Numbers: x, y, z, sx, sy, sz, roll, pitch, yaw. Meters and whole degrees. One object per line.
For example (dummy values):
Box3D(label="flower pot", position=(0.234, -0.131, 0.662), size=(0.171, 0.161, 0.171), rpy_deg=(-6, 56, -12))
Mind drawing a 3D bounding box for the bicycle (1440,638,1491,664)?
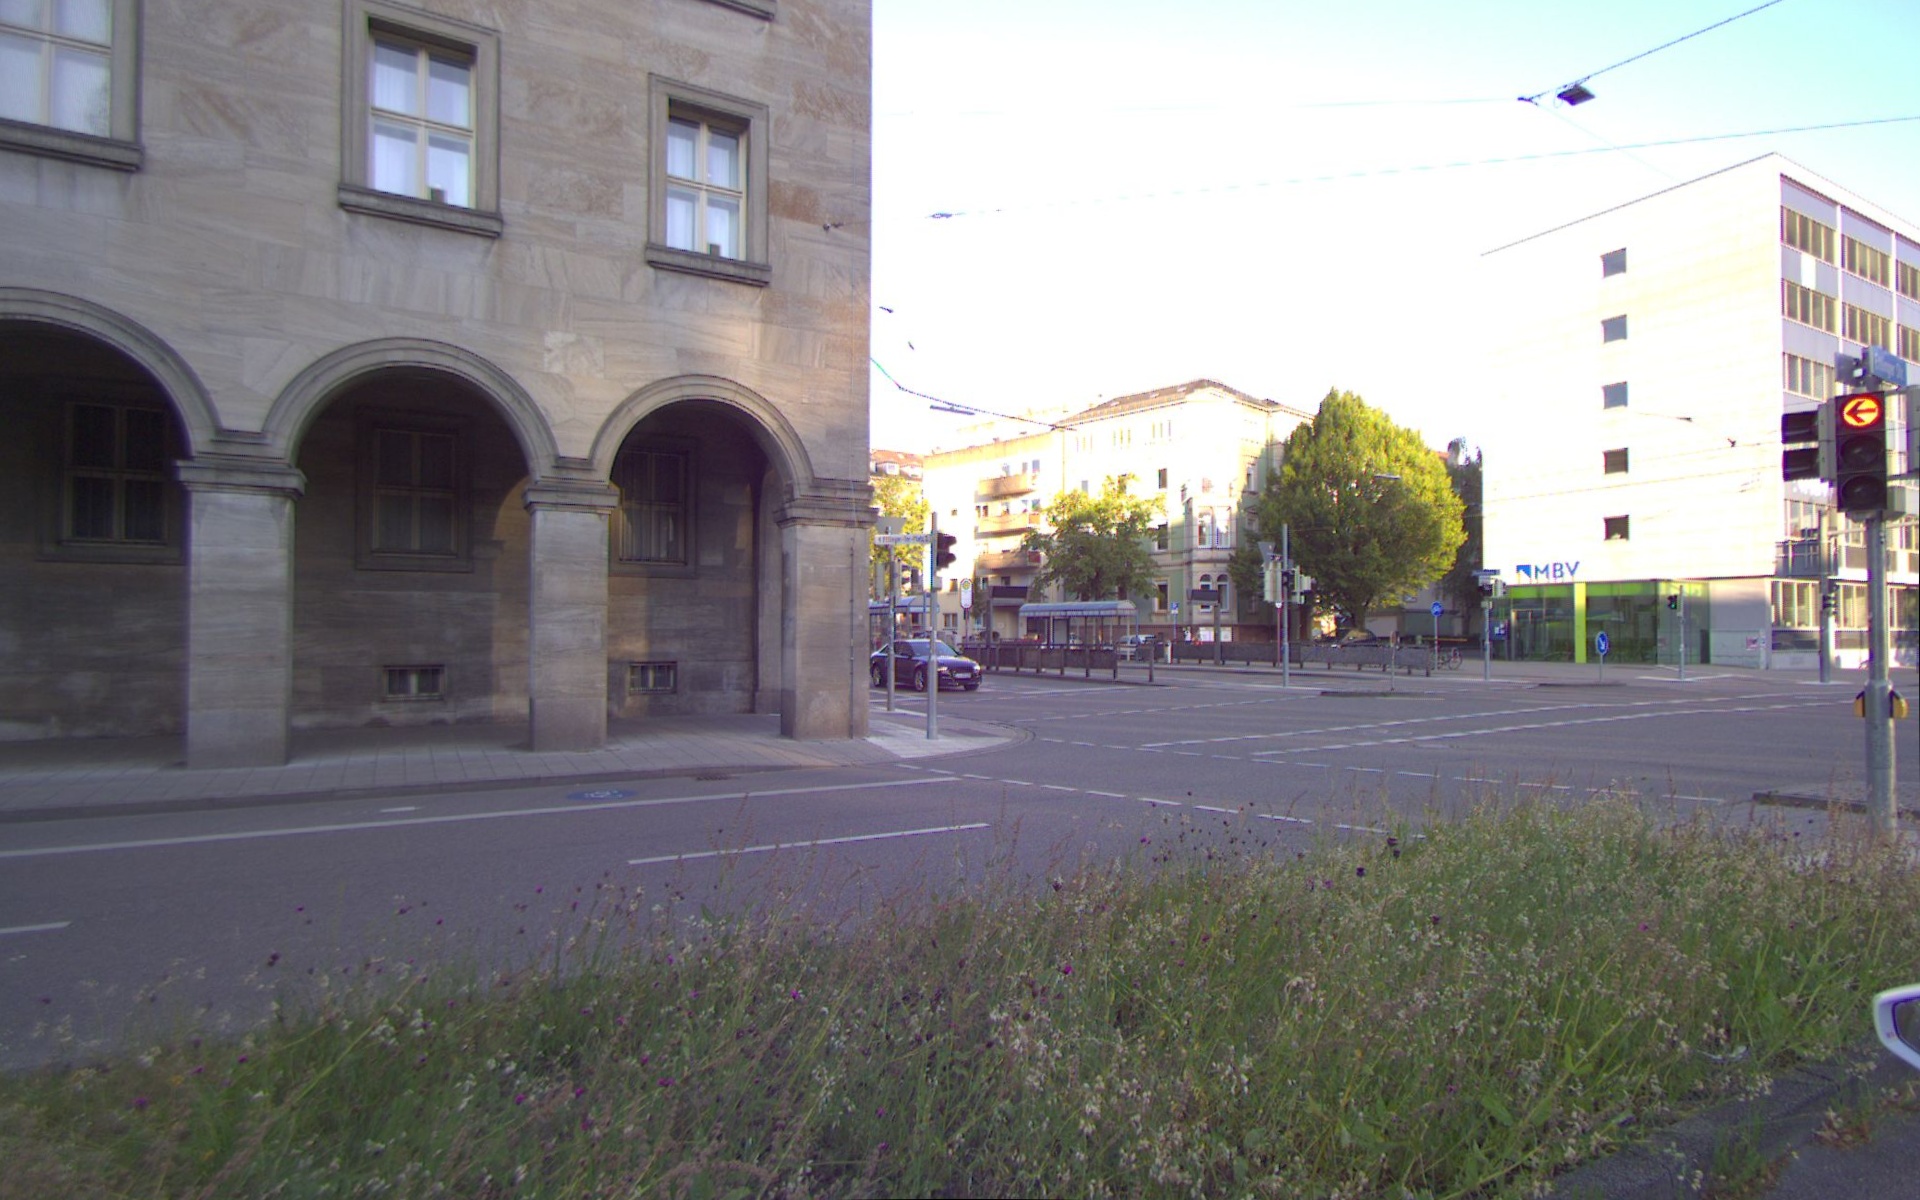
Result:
Box3D(label="bicycle", position=(21.833, 2.191, 43.369), size=(2.183, 1.127, 0.834), rpy_deg=(1, -2, -26))

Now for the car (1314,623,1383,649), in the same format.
Box3D(label="car", position=(21.675, 1.998, 56.047), size=(3.553, 1.390, 1.826), rpy_deg=(1, -2, -32))

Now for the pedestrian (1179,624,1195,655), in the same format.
Box3D(label="pedestrian", position=(13.748, 2.382, 60.751), size=(0.718, 1.813, 0.634), rpy_deg=(1, -2, -44))

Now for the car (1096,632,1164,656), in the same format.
Box3D(label="car", position=(10.017, 2.590, 59.236), size=(3.545, 1.390, 1.830), rpy_deg=(-2, -2, 45))

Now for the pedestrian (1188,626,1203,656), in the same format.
Box3D(label="pedestrian", position=(14.380, 2.486, 61.343), size=(0.718, 1.813, 0.634), rpy_deg=(1, -2, -43))

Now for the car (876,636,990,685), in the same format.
Box3D(label="car", position=(-0.878, 1.736, 29.835), size=(1.791, 1.344, 4.120), rpy_deg=(1, -2, -27))

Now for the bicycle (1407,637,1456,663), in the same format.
Box3D(label="bicycle", position=(21.011, 2.214, 44.750), size=(2.183, 1.127, 0.834), rpy_deg=(1, -2, -26))
